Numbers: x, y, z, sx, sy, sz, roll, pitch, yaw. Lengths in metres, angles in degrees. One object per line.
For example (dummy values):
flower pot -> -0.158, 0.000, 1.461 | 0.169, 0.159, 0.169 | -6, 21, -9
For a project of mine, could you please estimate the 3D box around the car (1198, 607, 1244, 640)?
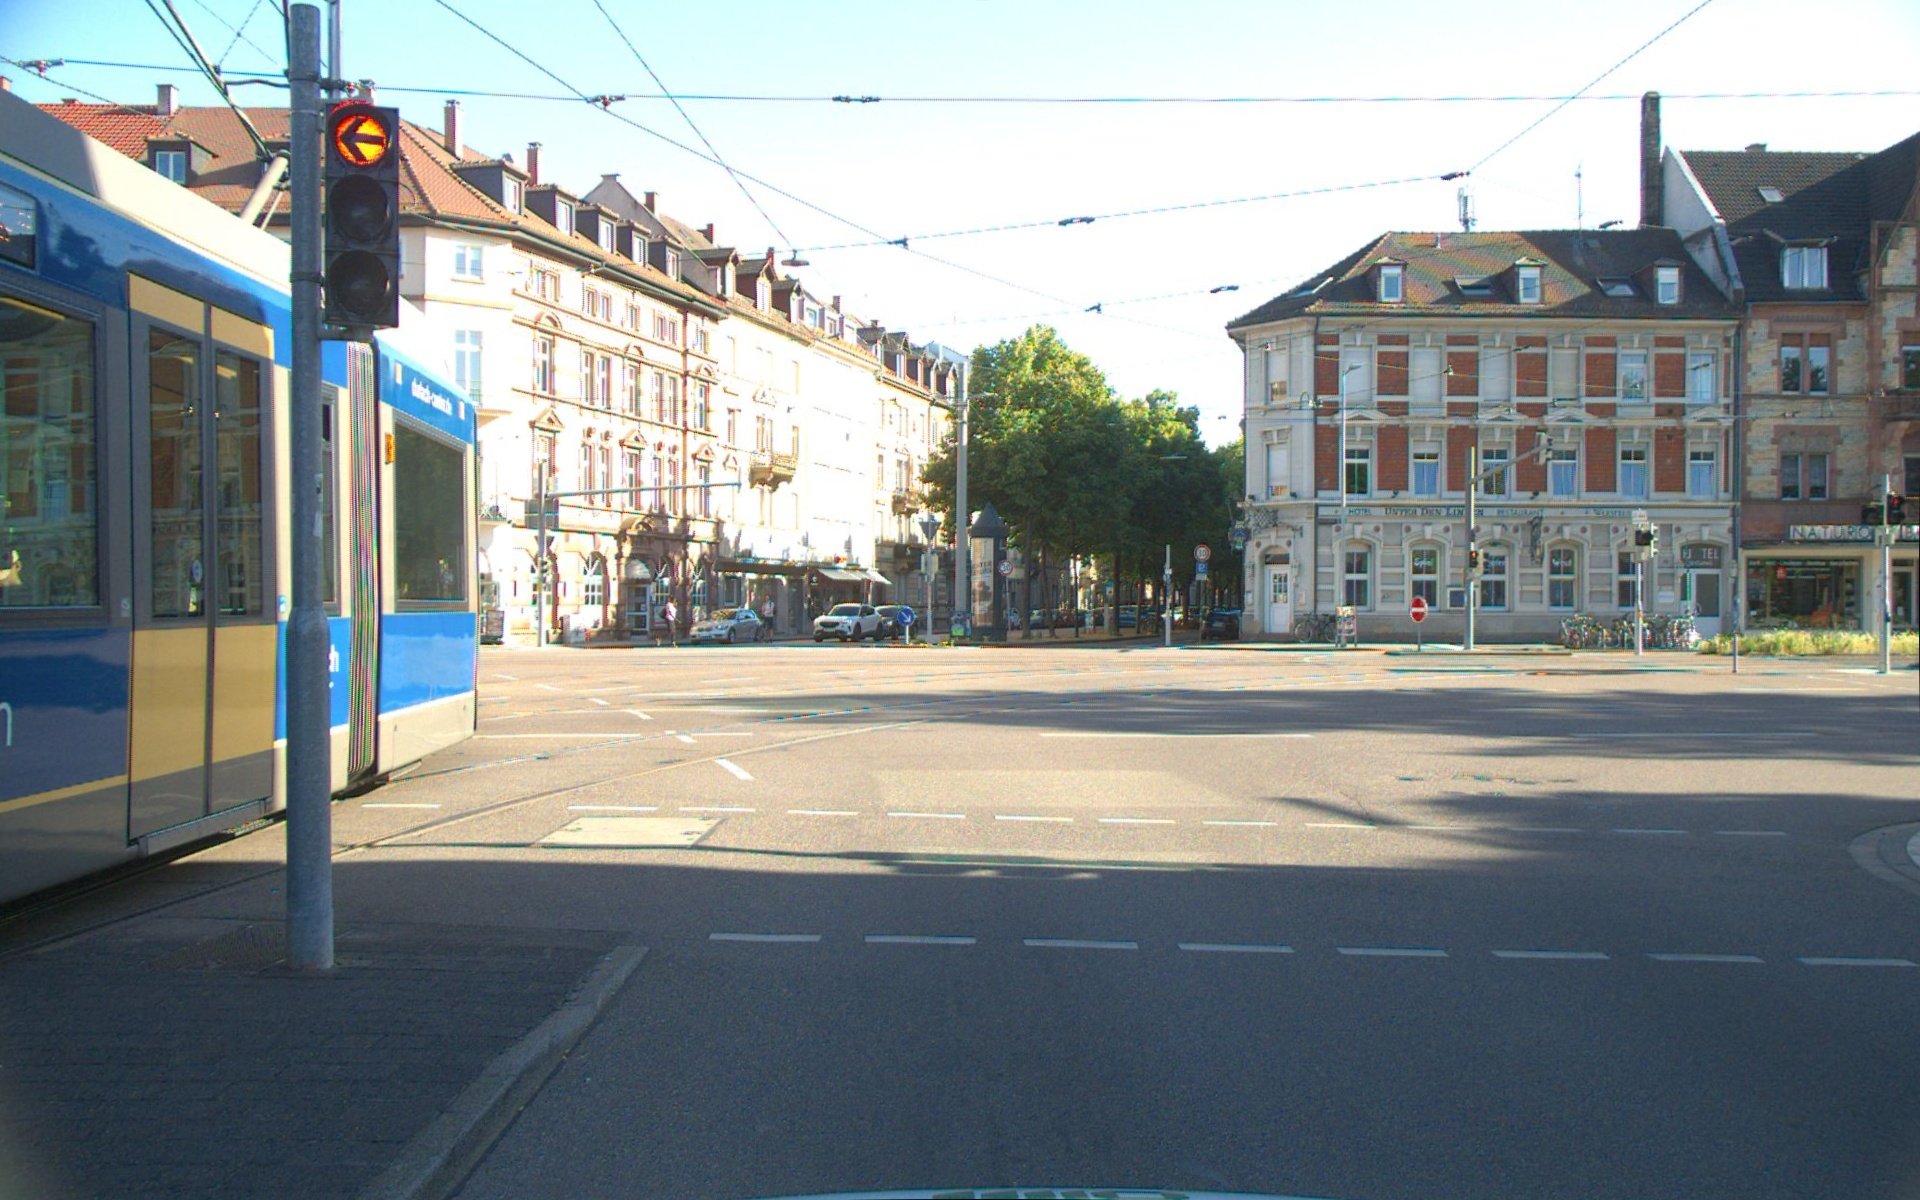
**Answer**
car -> 13.075, 1.160, 82.642 | 1.951, 1.613, 4.003 | 0, 0, 13

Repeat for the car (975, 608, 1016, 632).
car -> 2.418, 1.327, 110.999 | 1.951, 1.512, 4.003 | 0, 0, 13

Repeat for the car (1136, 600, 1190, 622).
car -> 16.425, 0.890, 133.881 | 3.912, 1.736, 1.996 | 0, 0, 30

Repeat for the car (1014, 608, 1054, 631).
car -> 5.533, 1.428, 122.747 | 1.951, 1.640, 4.393 | 0, 0, 17

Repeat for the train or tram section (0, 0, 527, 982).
train or tram section -> -4.753, -0.472, 8.852 | 2.757, 3.561, 8.460 | 0, 0, -1

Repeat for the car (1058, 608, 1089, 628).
car -> 9.399, 1.466, 136.472 | 1.727, 1.576, 4.394 | 0, 0, 16

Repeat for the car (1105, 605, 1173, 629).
car -> 12.499, 1.200, 115.640 | 4.290, 1.640, 1.998 | 0, 0, 26

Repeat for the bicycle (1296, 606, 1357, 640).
bicycle -> 12.756, 0.816, 57.592 | 2.045, 1.144, 0.366 | 1, -1, -5

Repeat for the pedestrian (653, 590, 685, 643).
pedestrian -> -9.878, 0.562, 56.141 | 1.028, 1.774, 0.806 | 0, 0, -13

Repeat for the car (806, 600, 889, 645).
car -> -4.537, 0.881, 67.262 | 1.951, 1.713, 4.393 | 0, 0, 17

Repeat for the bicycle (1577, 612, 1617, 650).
bicycle -> 20.598, 0.997, 53.548 | 0.605, 1.163, 2.175 | 0, 0, 4

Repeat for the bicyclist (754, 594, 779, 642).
bicyclist -> -7.580, 0.691, 64.941 | 0.664, 1.852, 1.071 | 0, 0, 12

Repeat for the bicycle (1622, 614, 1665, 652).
bicycle -> 22.078, 1.053, 53.459 | 0.605, 1.163, 2.175 | 0, 0, 4

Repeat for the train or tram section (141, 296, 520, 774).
train or tram section -> -6.340, -0.524, 18.474 | 2.724, 3.561, 11.981 | 0, 0, -15

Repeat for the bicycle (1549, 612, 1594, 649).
bicycle -> 19.827, 0.986, 53.667 | 0.789, 1.163, 2.175 | 0, 0, 4

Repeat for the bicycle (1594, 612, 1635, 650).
bicycle -> 21.170, 0.991, 53.518 | 0.605, 1.163, 2.175 | 0, 0, 4

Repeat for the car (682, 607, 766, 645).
car -> -9.521, 1.032, 66.909 | 1.858, 1.481, 4.002 | 0, 0, 17

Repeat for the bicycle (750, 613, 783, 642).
bicycle -> -7.591, 1.078, 64.898 | 0.665, 1.085, 2.127 | 0, 0, 12

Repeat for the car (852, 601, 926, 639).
car -> -3.143, 0.860, 73.797 | 1.951, 1.640, 4.393 | 0, 0, 17

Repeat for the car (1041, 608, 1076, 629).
car -> 7.786, 1.426, 130.571 | 1.798, 1.579, 4.393 | 0, 0, 16

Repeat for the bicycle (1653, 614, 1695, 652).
bicycle -> 23.042, 1.057, 53.407 | 0.596, 1.156, 2.136 | 0, 0, 4
